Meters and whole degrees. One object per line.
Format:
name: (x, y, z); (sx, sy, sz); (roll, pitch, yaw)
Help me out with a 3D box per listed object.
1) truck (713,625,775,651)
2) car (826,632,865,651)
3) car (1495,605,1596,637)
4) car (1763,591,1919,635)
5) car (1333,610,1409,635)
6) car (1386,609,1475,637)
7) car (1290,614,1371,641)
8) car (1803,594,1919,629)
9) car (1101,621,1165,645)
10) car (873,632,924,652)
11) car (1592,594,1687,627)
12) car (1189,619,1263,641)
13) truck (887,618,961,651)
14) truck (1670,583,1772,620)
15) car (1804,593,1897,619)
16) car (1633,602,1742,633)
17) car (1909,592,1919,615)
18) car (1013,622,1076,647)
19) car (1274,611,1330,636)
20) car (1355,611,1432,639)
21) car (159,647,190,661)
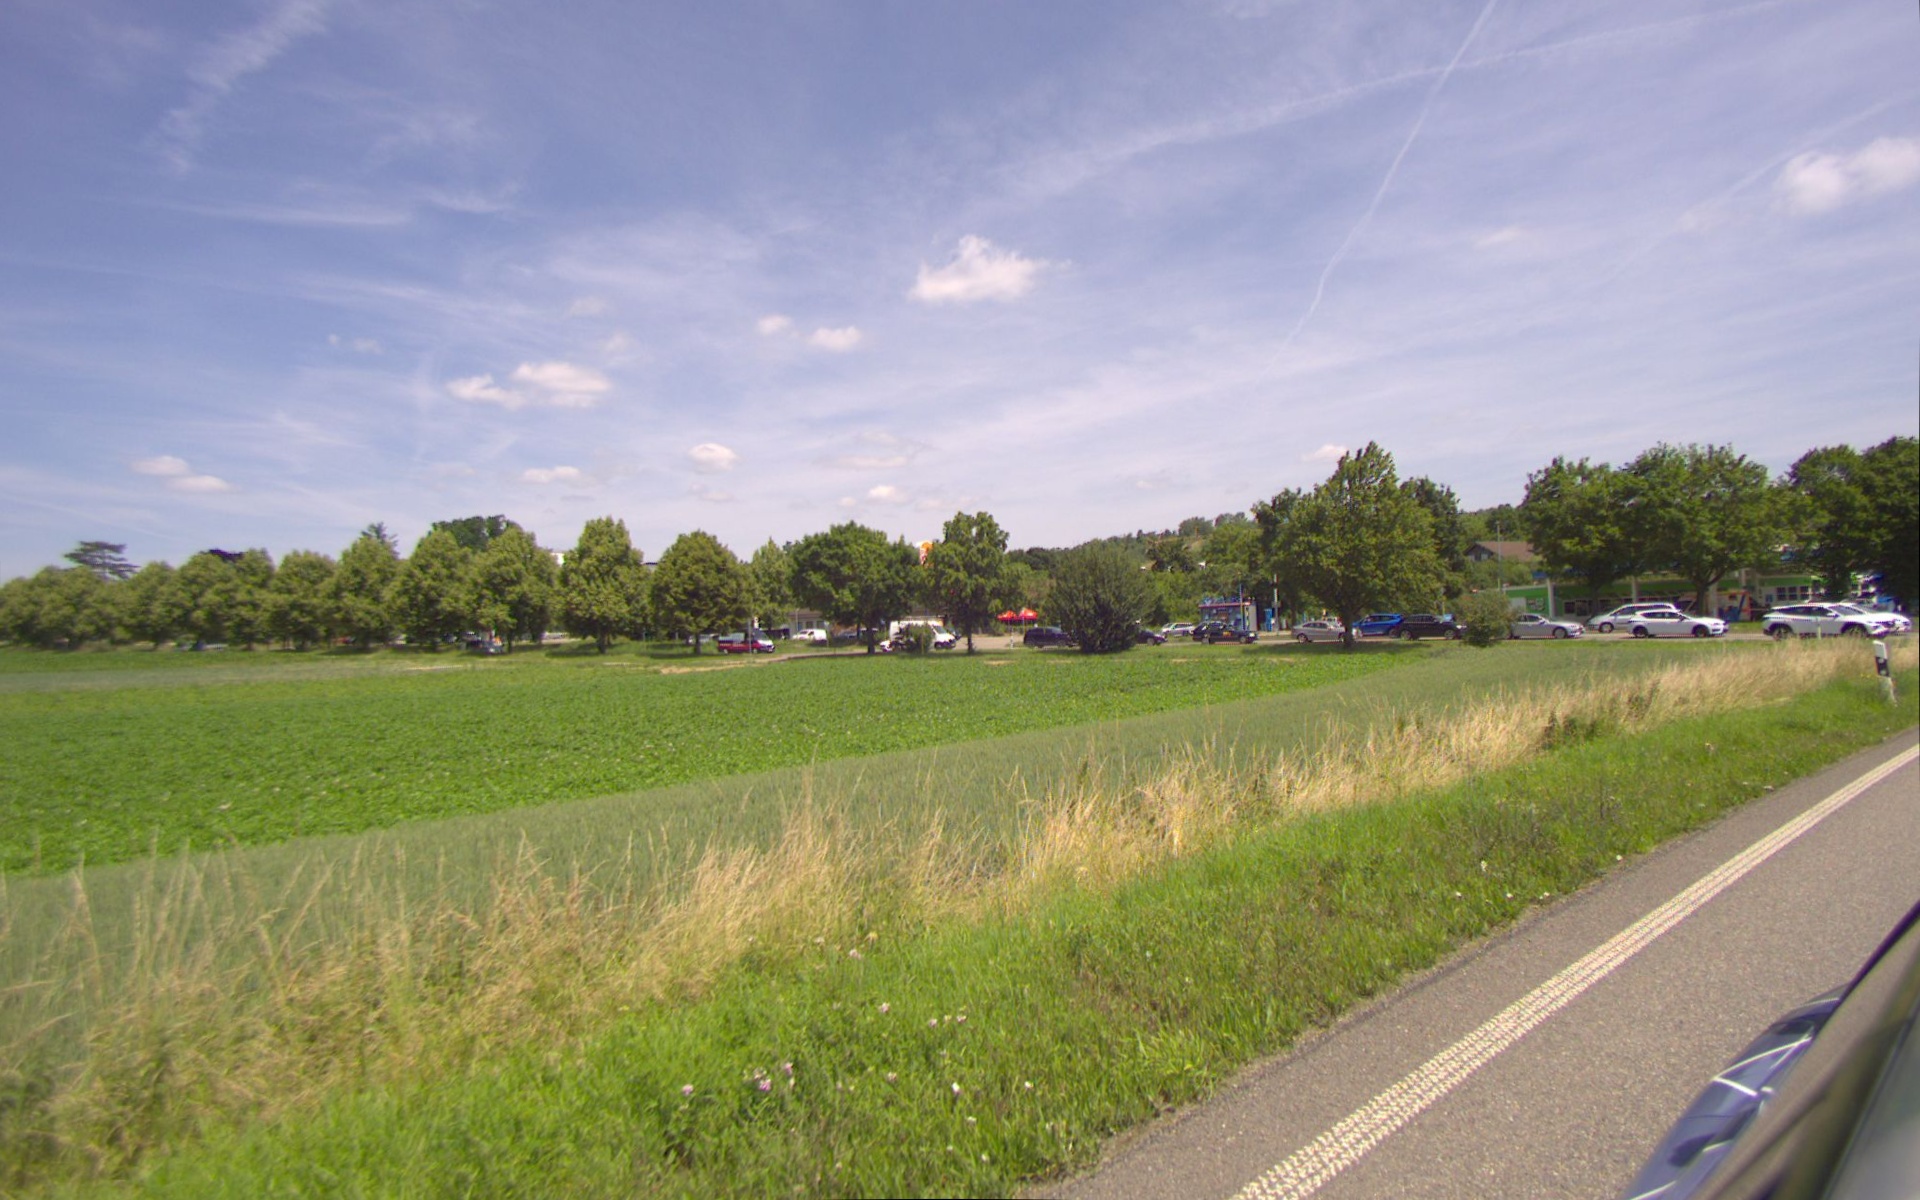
truck: (-19.100, 3.367, 89.398); (5.418, 2.001, 1.785); (-3, -1, 26)
car: (-12.374, 4.476, 109.550); (3.970, 1.847, 1.802); (-3, -1, 33)
car: (32.840, 1.192, 56.878); (1.772, 1.529, 4.548); (-2, -1, -44)
car: (37.633, 0.598, 43.317); (1.958, 1.628, 4.647); (-3, -1, -24)
car: (27.369, 1.521, 67.424); (4.358, 1.579, 1.762); (-2, -2, 35)
car: (28.722, 1.402, 61.858); (1.772, 1.529, 4.550); (-4, 1, -43)
car: (23.772, 1.771, 65.085); (4.534, 1.529, 1.777); (-3, -1, 37)
car: (40.981, 0.546, 45.772); (1.791, 1.437, 3.977); (-2, 0, -28)
car: (12.453, 2.396, 72.902); (4.193, 1.529, 1.783); (-3, -1, 29)
car: (-5.751, 3.946, 94.351); (4.419, 1.579, 1.875); (-3, -1, -37)
car: (39.985, 0.635, 59.677); (4.489, 1.713, 1.847); (-2, 0, 31)
car: (18.228, 2.090, 69.373); (4.524, 1.289, 1.781); (-3, -1, 31)
truck: (-2.918, 2.800, 81.322); (5.578, 2.396, 2.036); (-3, -1, 25)
truck: (59.279, 0.140, 78.916); (6.035, 2.652, 2.261); (-2, -1, 2)
car: (65.622, 0.436, 74.662); (4.850, 1.623, 2.037); (-3, 0, 3)
car: (36.845, 0.905, 51.346); (1.768, 1.437, 4.103); (-2, 0, -37)
car: (73.052, 0.159, 74.342); (4.546, 1.642, 1.998); (-3, 0, 3)
car: (6.434, 2.645, 77.096); (4.256, 1.719, 1.978); (-3, -1, 31)
car: (28.119, 1.922, 83.206); (3.969, 1.847, 1.802); (-3, -1, 33)
car: (29.428, 1.691, 68.731); (4.492, 1.713, 1.845); (-2, 0, 33)
car: (-112.054, 7.704, 144.356); (3.963, 1.670, 1.980); (-3, -1, 29)
